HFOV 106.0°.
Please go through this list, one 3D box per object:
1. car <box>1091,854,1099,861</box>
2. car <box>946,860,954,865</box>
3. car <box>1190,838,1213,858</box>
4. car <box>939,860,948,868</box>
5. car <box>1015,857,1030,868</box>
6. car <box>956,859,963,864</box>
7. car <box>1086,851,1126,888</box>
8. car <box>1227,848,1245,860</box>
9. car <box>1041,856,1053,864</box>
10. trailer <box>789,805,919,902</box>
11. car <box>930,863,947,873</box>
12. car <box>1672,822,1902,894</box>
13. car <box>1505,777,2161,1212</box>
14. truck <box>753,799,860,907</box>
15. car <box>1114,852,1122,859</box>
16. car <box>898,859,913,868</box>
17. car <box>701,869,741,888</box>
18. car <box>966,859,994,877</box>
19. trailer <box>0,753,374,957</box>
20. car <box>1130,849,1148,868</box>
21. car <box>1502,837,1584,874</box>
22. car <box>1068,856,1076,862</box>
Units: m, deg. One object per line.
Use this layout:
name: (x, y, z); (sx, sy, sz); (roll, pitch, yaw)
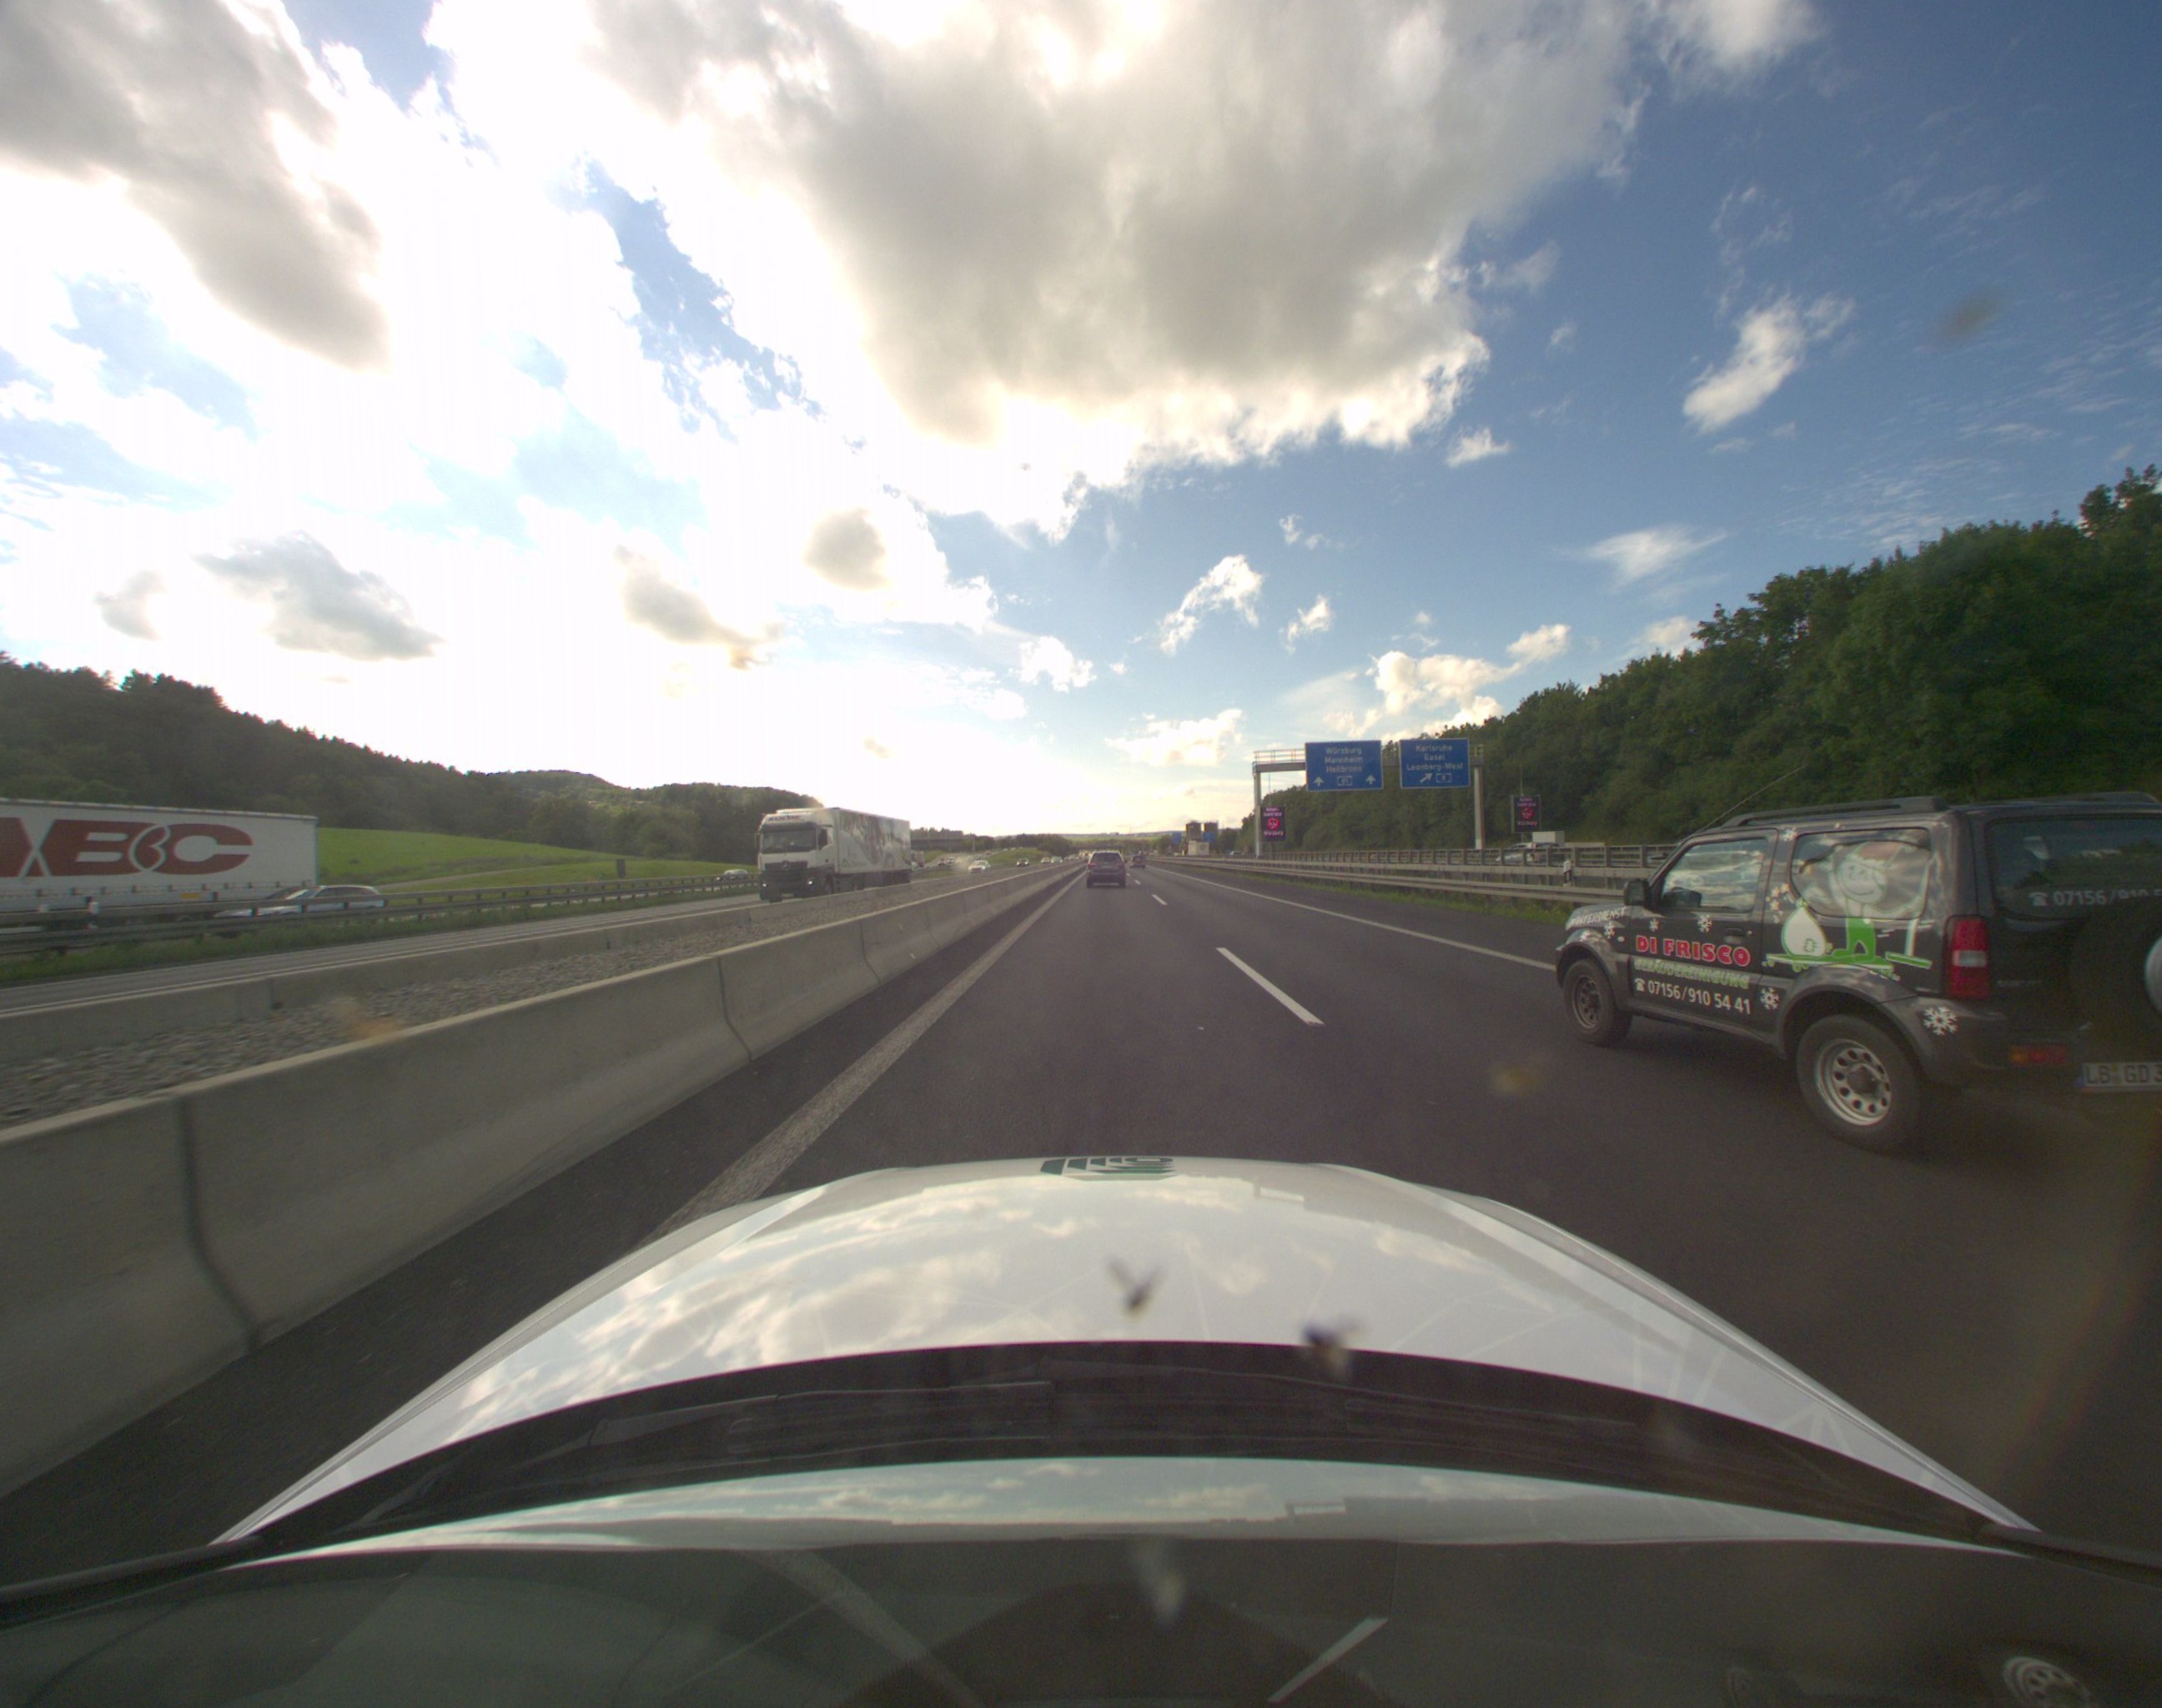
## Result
car: (3.839, 0.874, 224.802); (2.160, 1.843, 4.003); (-3, 0, 3)
car: (-39.053, 2.533, 242.680); (1.769, 1.548, 4.883); (-3, 0, -4)
car: (24.187, -1.207, 163.559); (3.563, 3.676, 7.551); (-3, 0, 1)
car: (-35.283, 2.535, 209.339); (1.768, 1.897, 4.394); (-3, 0, -3)
car: (-8.975, 1.291, 125.161); (1.794, 1.618, 4.303); (-3, 0, 2)
car: (-34.311, 2.127, 229.563); (1.770, 1.400, 4.388); (-3, 0, -6)
car: (1.241, 0.729, 39.154); (1.742, 1.630, 3.611); (-3, 0, 3)
car: (22.279, 0.024, 117.200); (1.986, 1.717, 4.001); (-3, 0, 1)
car: (-7.060, 1.241, 169.354); (1.986, 1.456, 4.182); (-3, 0, 1)
trailer: (-11.230, 0.010, 42.244); (2.479, 4.129, 13.287); (-3, 0, 2)
car: (-23.723, 2.386, 135.687); (1.935, 1.494, 4.129); (-3, 0, 2)
car: (16.405, 0.100, 19.251); (1.987, 1.484, 4.000); (-1, 0, 0)
car: (4.644, 0.563, 5.363); (1.659, 1.732, 4.210); (-2, 0, 3)
truck: (-11.520, -0.028, 34.715); (2.479, 4.129, 5.300); (-3, -1, 2)
car: (10.054, 0.541, 219.619); (1.968, 1.779, 4.121); (-3, 0, 1)
car: (-32.731, 1.704, 151.985); (1.794, 1.618, 4.303); (-3, 0, 2)
car: (-34.619, 2.302, 78.439); (1.794, 1.618, 4.303); (-3, 0, 2)
car: (-10.075, 1.363, 81.308); (1.986, 1.618, 5.004); (-3, 0, 2)
trailer: (-28.839, 0.114, 24.080); (3.100, 5.160, 14.711); (-3, 0, -1)
car: (6.853, 0.558, 96.557); (1.986, 2.081, 4.001); (-3, 0, 1)
car: (23.620, 0.071, 41.835); (1.986, 1.708, 4.001); (-3, 0, 1)
car: (-2.387, 1.233, 215.082); (1.986, 1.532, 5.022); (-3, 0, 1)
